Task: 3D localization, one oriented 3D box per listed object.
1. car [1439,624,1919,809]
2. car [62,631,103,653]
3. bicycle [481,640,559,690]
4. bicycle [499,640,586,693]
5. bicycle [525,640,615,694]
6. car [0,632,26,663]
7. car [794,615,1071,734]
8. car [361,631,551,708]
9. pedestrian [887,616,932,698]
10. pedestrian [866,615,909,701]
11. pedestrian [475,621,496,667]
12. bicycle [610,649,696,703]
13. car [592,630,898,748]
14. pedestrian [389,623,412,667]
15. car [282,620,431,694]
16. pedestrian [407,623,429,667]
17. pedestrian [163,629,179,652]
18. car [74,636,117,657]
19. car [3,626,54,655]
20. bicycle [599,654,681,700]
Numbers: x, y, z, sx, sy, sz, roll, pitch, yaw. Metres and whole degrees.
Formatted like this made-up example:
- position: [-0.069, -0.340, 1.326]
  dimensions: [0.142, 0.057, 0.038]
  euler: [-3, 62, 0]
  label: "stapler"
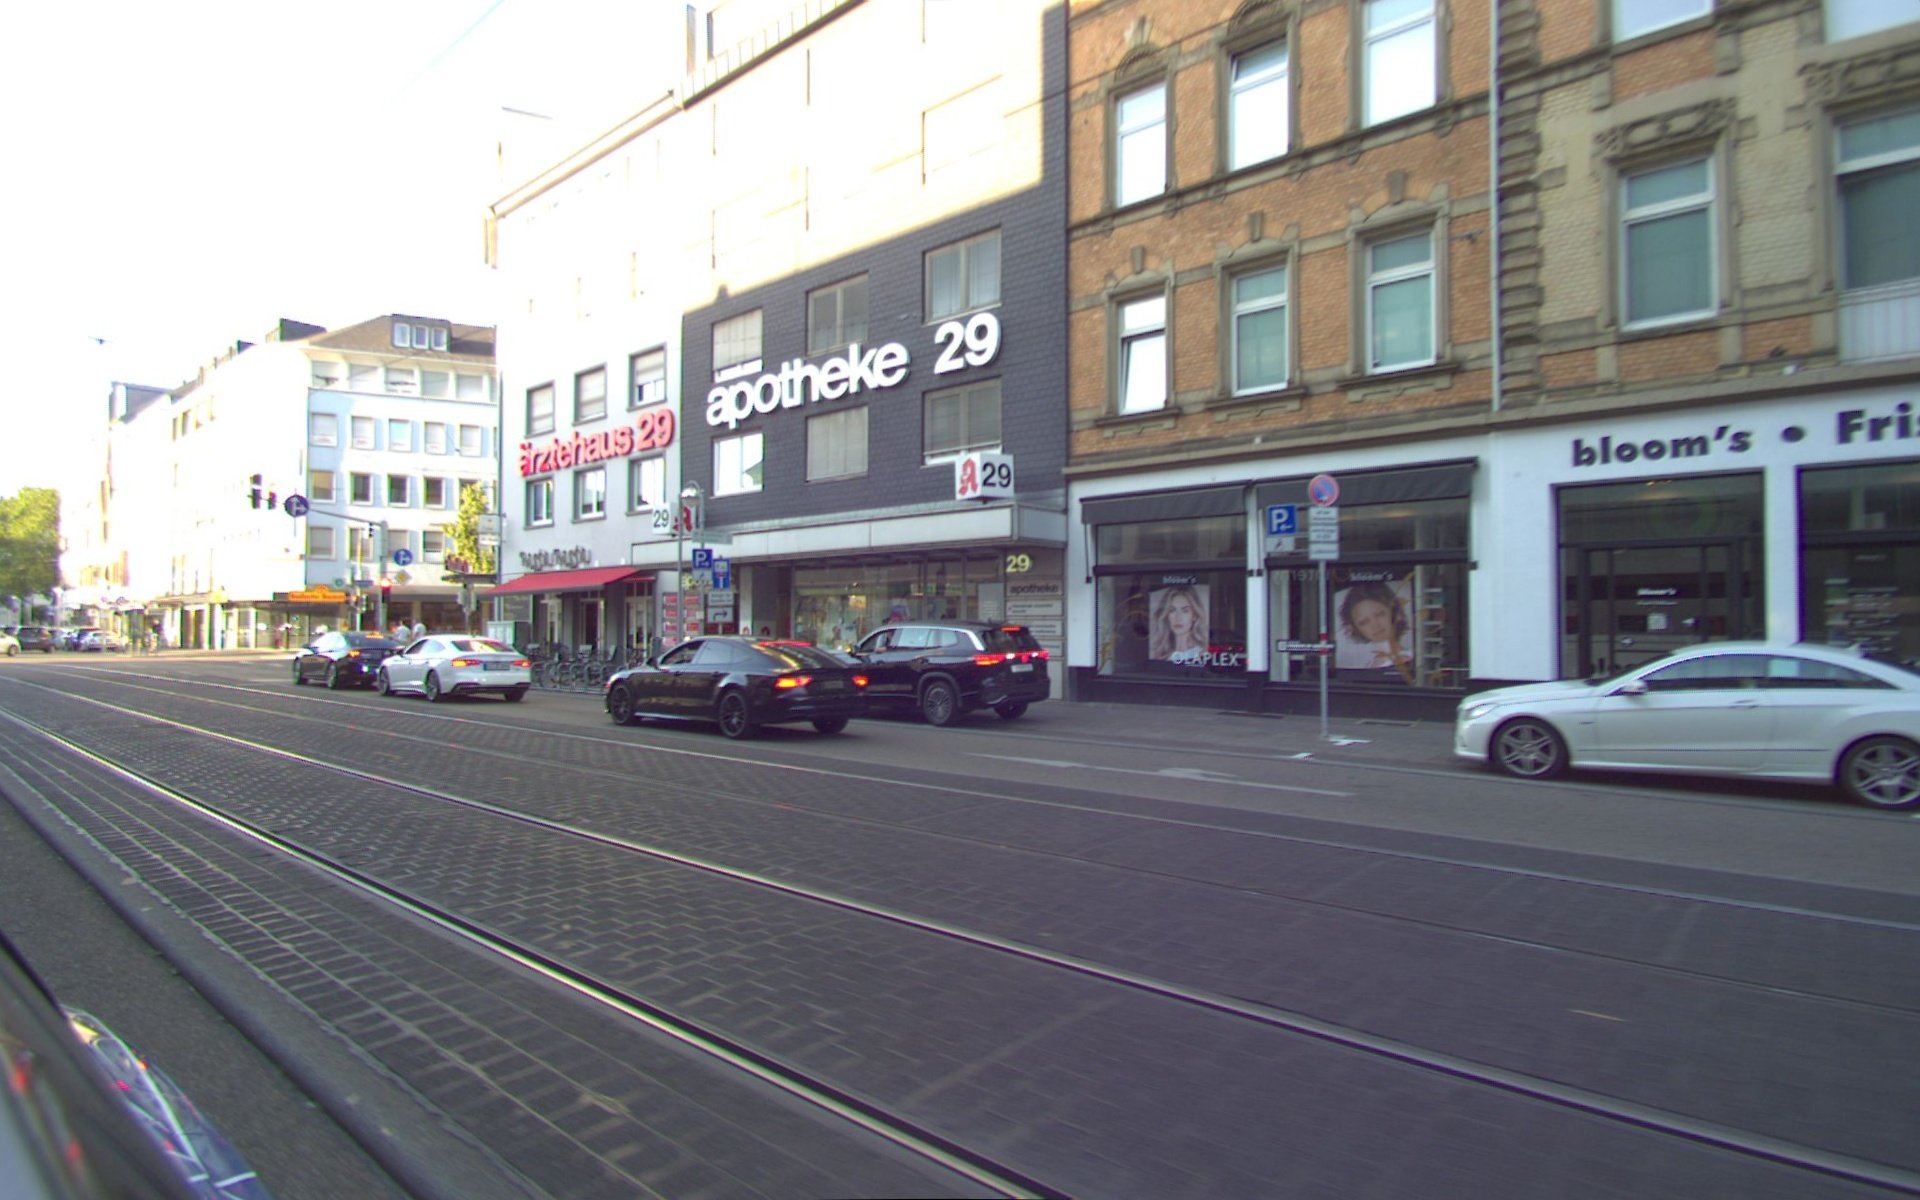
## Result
- position: [7.438, 1.006, 9.990]
  dimensions: [4.604, 1.464, 1.851]
  euler: [-1, 0, 39]
  label: "car"
- position: [-58.433, 2.800, 67.355]
  dimensions: [3.387, 1.364, 1.615]
  euler: [-3, 0, 42]
  label: "car"
- position: [-12.042, 1.756, 27.749]
  dimensions: [0.553, 1.220, 1.871]
  euler: [-2, 0, 41]
  label: "bicycle"
- position: [-10.966, 1.716, 26.638]
  dimensions: [0.553, 1.233, 2.090]
  euler: [-2, 0, 41]
  label: "bicycle"
- position: [-9.905, 1.683, 25.777]
  dimensions: [0.553, 1.233, 2.090]
  euler: [-2, 0, 41]
  label: "bicycle"
- position: [-47.897, 2.332, 49.087]
  dimensions: [1.694, 1.483, 3.987]
  euler: [0, 0, -3]
  label: "car"
- position: [-0.591, 1.144, 16.930]
  dimensions: [4.647, 1.687, 1.909]
  euler: [-2, -1, 44]
  label: "car"
- position: [-10.941, 1.447, 21.843]
  dimensions: [4.653, 1.464, 1.973]
  euler: [-1, -4, 41]
  label: "car"
- position: [-1.041, 1.175, 21.040]
  dimensions: [0.624, 1.673, 0.675]
  euler: [-3, -2, 41]
  label: "pedestrian"
- position: [-1.471, 1.167, 20.505]
  dimensions: [0.602, 1.712, 0.614]
  euler: [-3, -2, 41]
  label: "pedestrian"
- position: [-17.559, 1.628, 37.475]
  dimensions: [0.701, 1.689, 0.705]
  euler: [0, -2, -25]
  label: "pedestrian"
- position: [-6.840, 1.683, 22.637]
  dimensions: [0.489, 1.055, 1.812]
  euler: [-4, -1, 41]
  label: "bicycle"
- position: [-3.266, 1.189, 14.840]
  dimensions: [4.646, 1.464, 1.973]
  euler: [-2, -3, 41]
  label: "car"
- position: [-22.598, 1.792, 40.866]
  dimensions: [0.669, 1.758, 0.629]
  euler: [-2, -2, 43]
  label: "pedestrian"
- position: [-15.612, 1.436, 26.068]
  dimensions: [4.727, 1.740, 1.972]
  euler: [-2, -4, 43]
  label: "car"
- position: [-22.155, 1.831, 41.355]
  dimensions: [0.600, 1.792, 0.629]
  euler: [-2, -2, 43]
  label: "pedestrian"
- position: [-51.892, 2.654, 66.584]
  dimensions: [0.621, 1.483, 0.539]
  euler: [-2, 0, 25]
  label: "pedestrian"
- position: [-54.958, 2.957, 64.317]
  dimensions: [3.387, 1.263, 1.615]
  euler: [-3, 0, 42]
  label: "car"
- position: [-56.729, 2.470, 61.595]
  dimensions: [4.257, 1.711, 1.803]
  euler: [-2, -3, 41]
  label: "car"
- position: [-7.336, 1.753, 23.288]
  dimensions: [0.456, 0.919, 1.786]
  euler: [-4, -1, 41]
  label: "bicycle"
